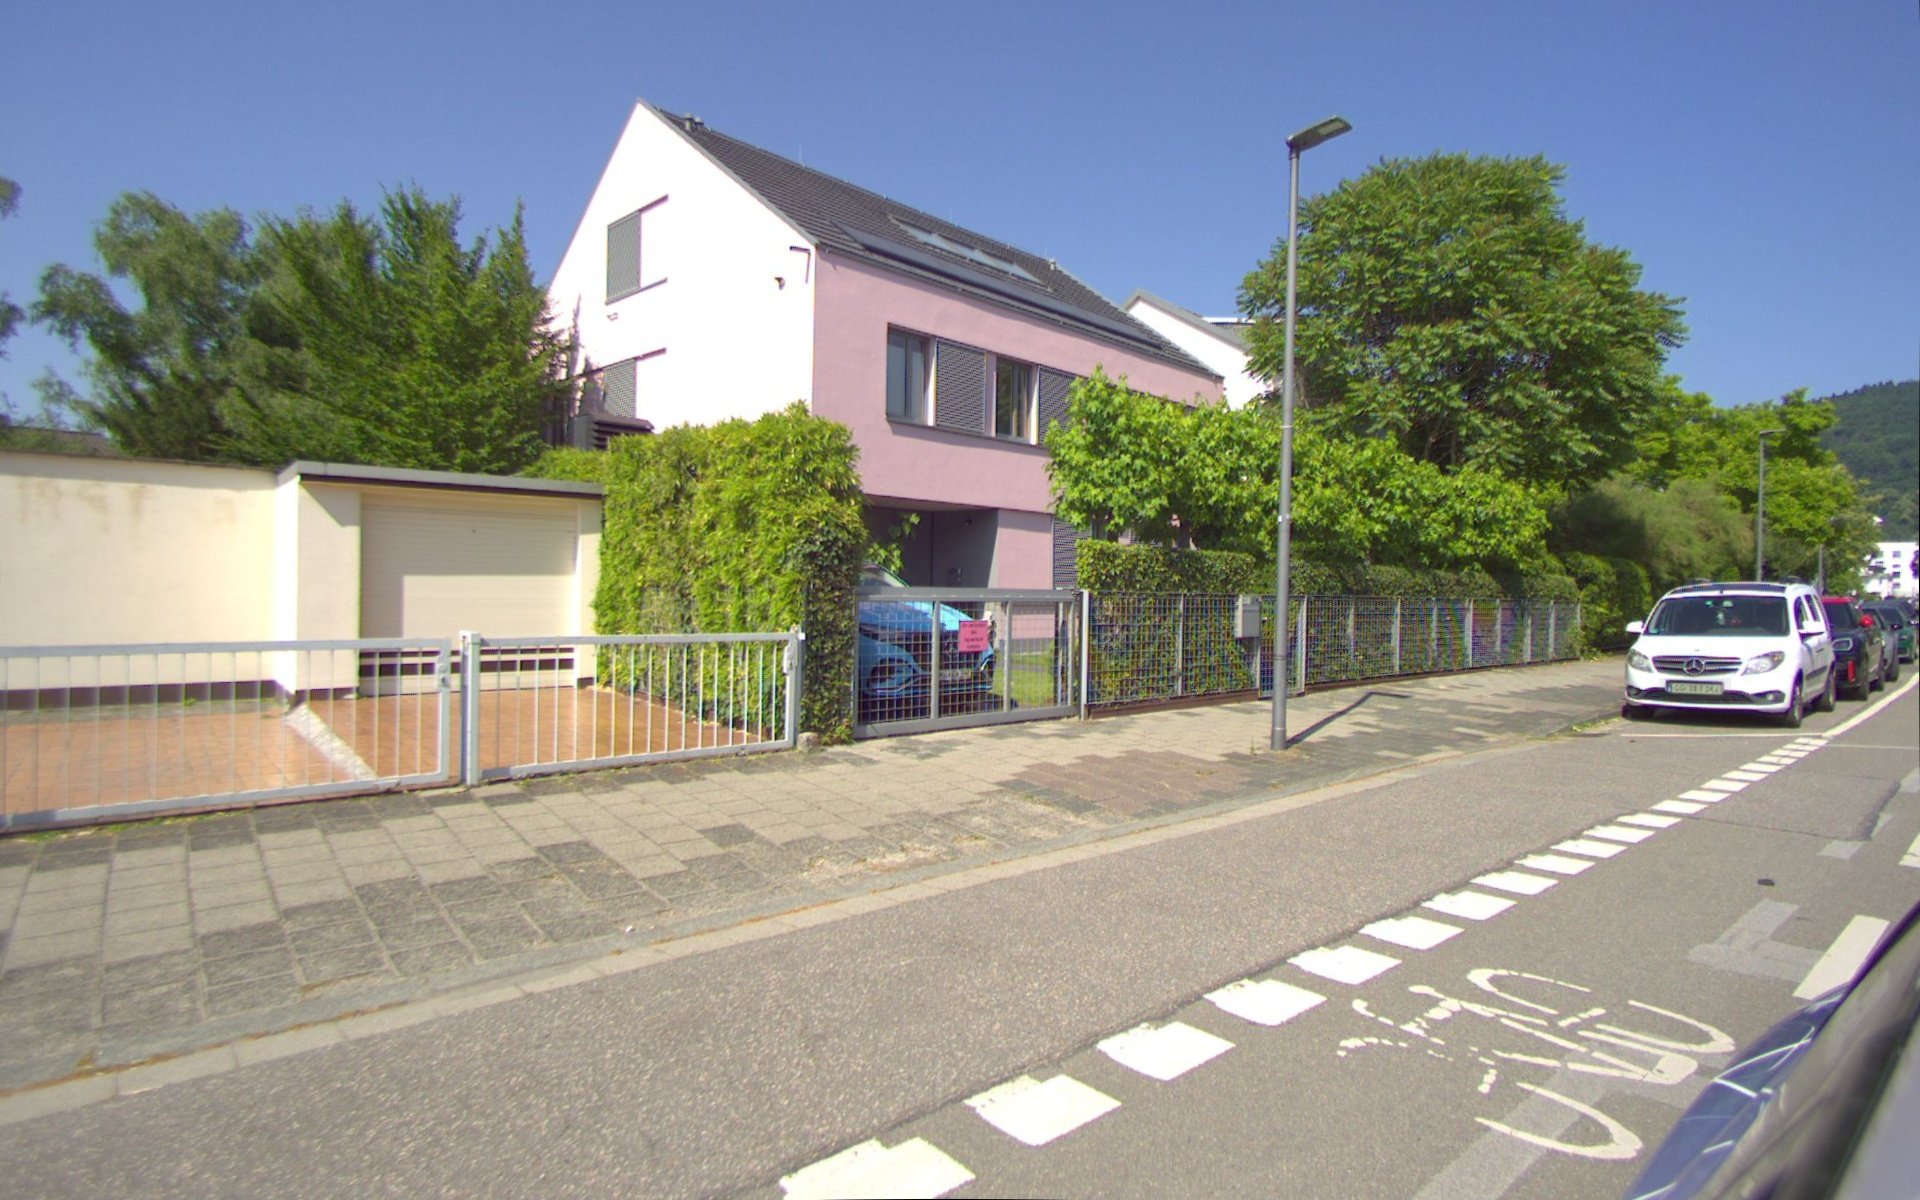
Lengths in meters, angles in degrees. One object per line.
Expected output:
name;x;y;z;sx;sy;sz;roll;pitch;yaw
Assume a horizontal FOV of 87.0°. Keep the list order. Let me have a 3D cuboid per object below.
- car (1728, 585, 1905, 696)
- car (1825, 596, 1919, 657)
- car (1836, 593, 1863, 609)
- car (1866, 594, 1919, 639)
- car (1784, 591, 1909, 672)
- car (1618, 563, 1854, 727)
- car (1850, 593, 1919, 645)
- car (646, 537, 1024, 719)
car;14.415;0.601;16.945;4.240;1.613;1.764;1;0;-43
car;24.182;0.672;26.520;4.708;1.482;1.813;1;-2;-44
car;100.970;0.145;114.901;1.989;1.727;3.947;1;1;37
car;34.785;0.599;37.321;1.812;1.579;4.526;-2;-2;44
car;18.385;0.597;20.940;1.762;1.461;4.005;3;1;43
car;10.541;0.487;13.611;4.521;1.850;1.764;-1;0;-43
car;31.070;0.626;33.777;1.811;1.579;3.854;-4;-3;43
car;-1.734;0.226;12.163;1.945;1.727;5.093;0;1;-42
